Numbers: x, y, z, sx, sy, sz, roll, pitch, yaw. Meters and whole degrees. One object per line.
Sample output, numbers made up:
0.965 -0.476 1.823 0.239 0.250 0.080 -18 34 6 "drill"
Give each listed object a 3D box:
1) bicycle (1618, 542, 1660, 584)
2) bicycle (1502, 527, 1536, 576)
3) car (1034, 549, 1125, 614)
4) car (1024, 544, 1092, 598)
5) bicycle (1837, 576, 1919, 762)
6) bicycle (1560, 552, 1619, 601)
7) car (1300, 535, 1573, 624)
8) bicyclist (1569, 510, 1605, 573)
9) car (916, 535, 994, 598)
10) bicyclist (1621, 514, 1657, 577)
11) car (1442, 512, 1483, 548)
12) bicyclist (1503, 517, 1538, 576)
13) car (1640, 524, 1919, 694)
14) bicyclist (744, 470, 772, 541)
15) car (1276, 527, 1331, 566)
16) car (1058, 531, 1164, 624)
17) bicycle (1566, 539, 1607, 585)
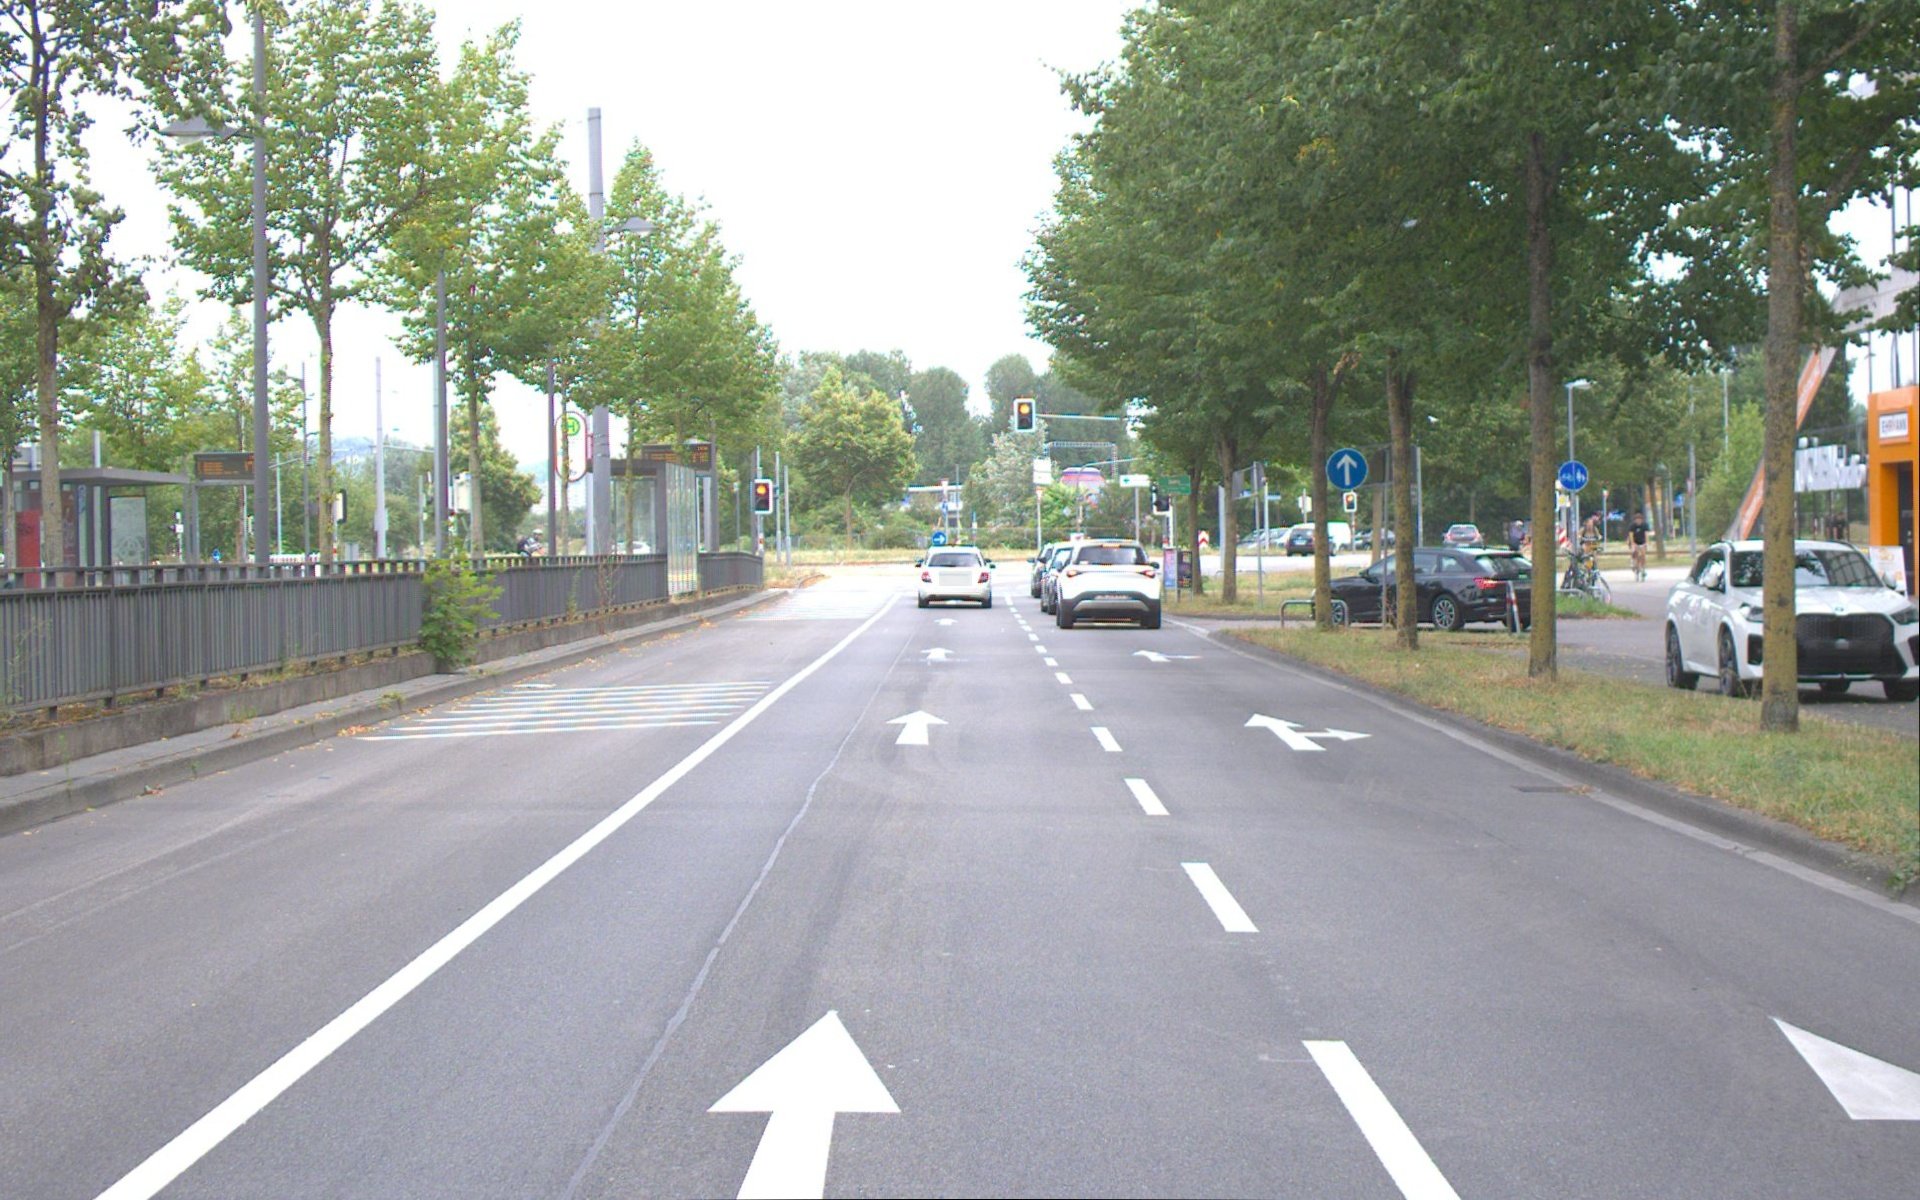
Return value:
17.197 -0.939 87.119 0.673 1.038 2.007 -1 1 0 "bicycle"
17.163 -1.489 105.500 0.705 1.500 2.007 -1 1 0 "bicycle"
2.695 -0.435 78.276 1.787 1.427 4.311 0 1 -2 "car"
2.654 -0.804 93.865 1.624 1.443 3.911 0 1 -1 "car"
6.187 0.438 21.152 0.709 1.111 2.204 2 1 -8 "bicycle"
12.654 -0.482 69.148 0.629 0.952 2.108 -1 1 -4 "bicycle"
8.281 -0.368 60.190 1.941 1.470 4.870 -2 1 -34 "car"
15.932 -1.495 87.411 0.724 1.577 0.990 0 1 0 "bicyclist"
-0.136 -0.823 82.988 1.773 1.443 3.911 -1 1 -1 "car"
17.232 -1.380 87.269 0.724 1.577 0.990 -1 1 1 "bicyclist"
23.620 -3.287 161.524 1.784 1.630 4.400 0 2 10 "car"
17.198 -1.631 105.502 0.866 1.783 1.175 -1 1 -1 "bicyclist"
8.219 0.035 34.216 1.938 1.546 4.594 -1 1 -1 "car"
-5.742 -2.679 97.556 0.728 1.877 0.735 -1 14 -4 "bicyclist"
16.690 -2.592 167.131 1.993 1.785 4.001 1 0 -4 "car"
2.765 -0.437 63.593 1.779 1.651 4.023 -1 1 1 "car"
15.953 -0.973 87.594 0.673 1.139 2.007 -1 1 0 "bicycle"
